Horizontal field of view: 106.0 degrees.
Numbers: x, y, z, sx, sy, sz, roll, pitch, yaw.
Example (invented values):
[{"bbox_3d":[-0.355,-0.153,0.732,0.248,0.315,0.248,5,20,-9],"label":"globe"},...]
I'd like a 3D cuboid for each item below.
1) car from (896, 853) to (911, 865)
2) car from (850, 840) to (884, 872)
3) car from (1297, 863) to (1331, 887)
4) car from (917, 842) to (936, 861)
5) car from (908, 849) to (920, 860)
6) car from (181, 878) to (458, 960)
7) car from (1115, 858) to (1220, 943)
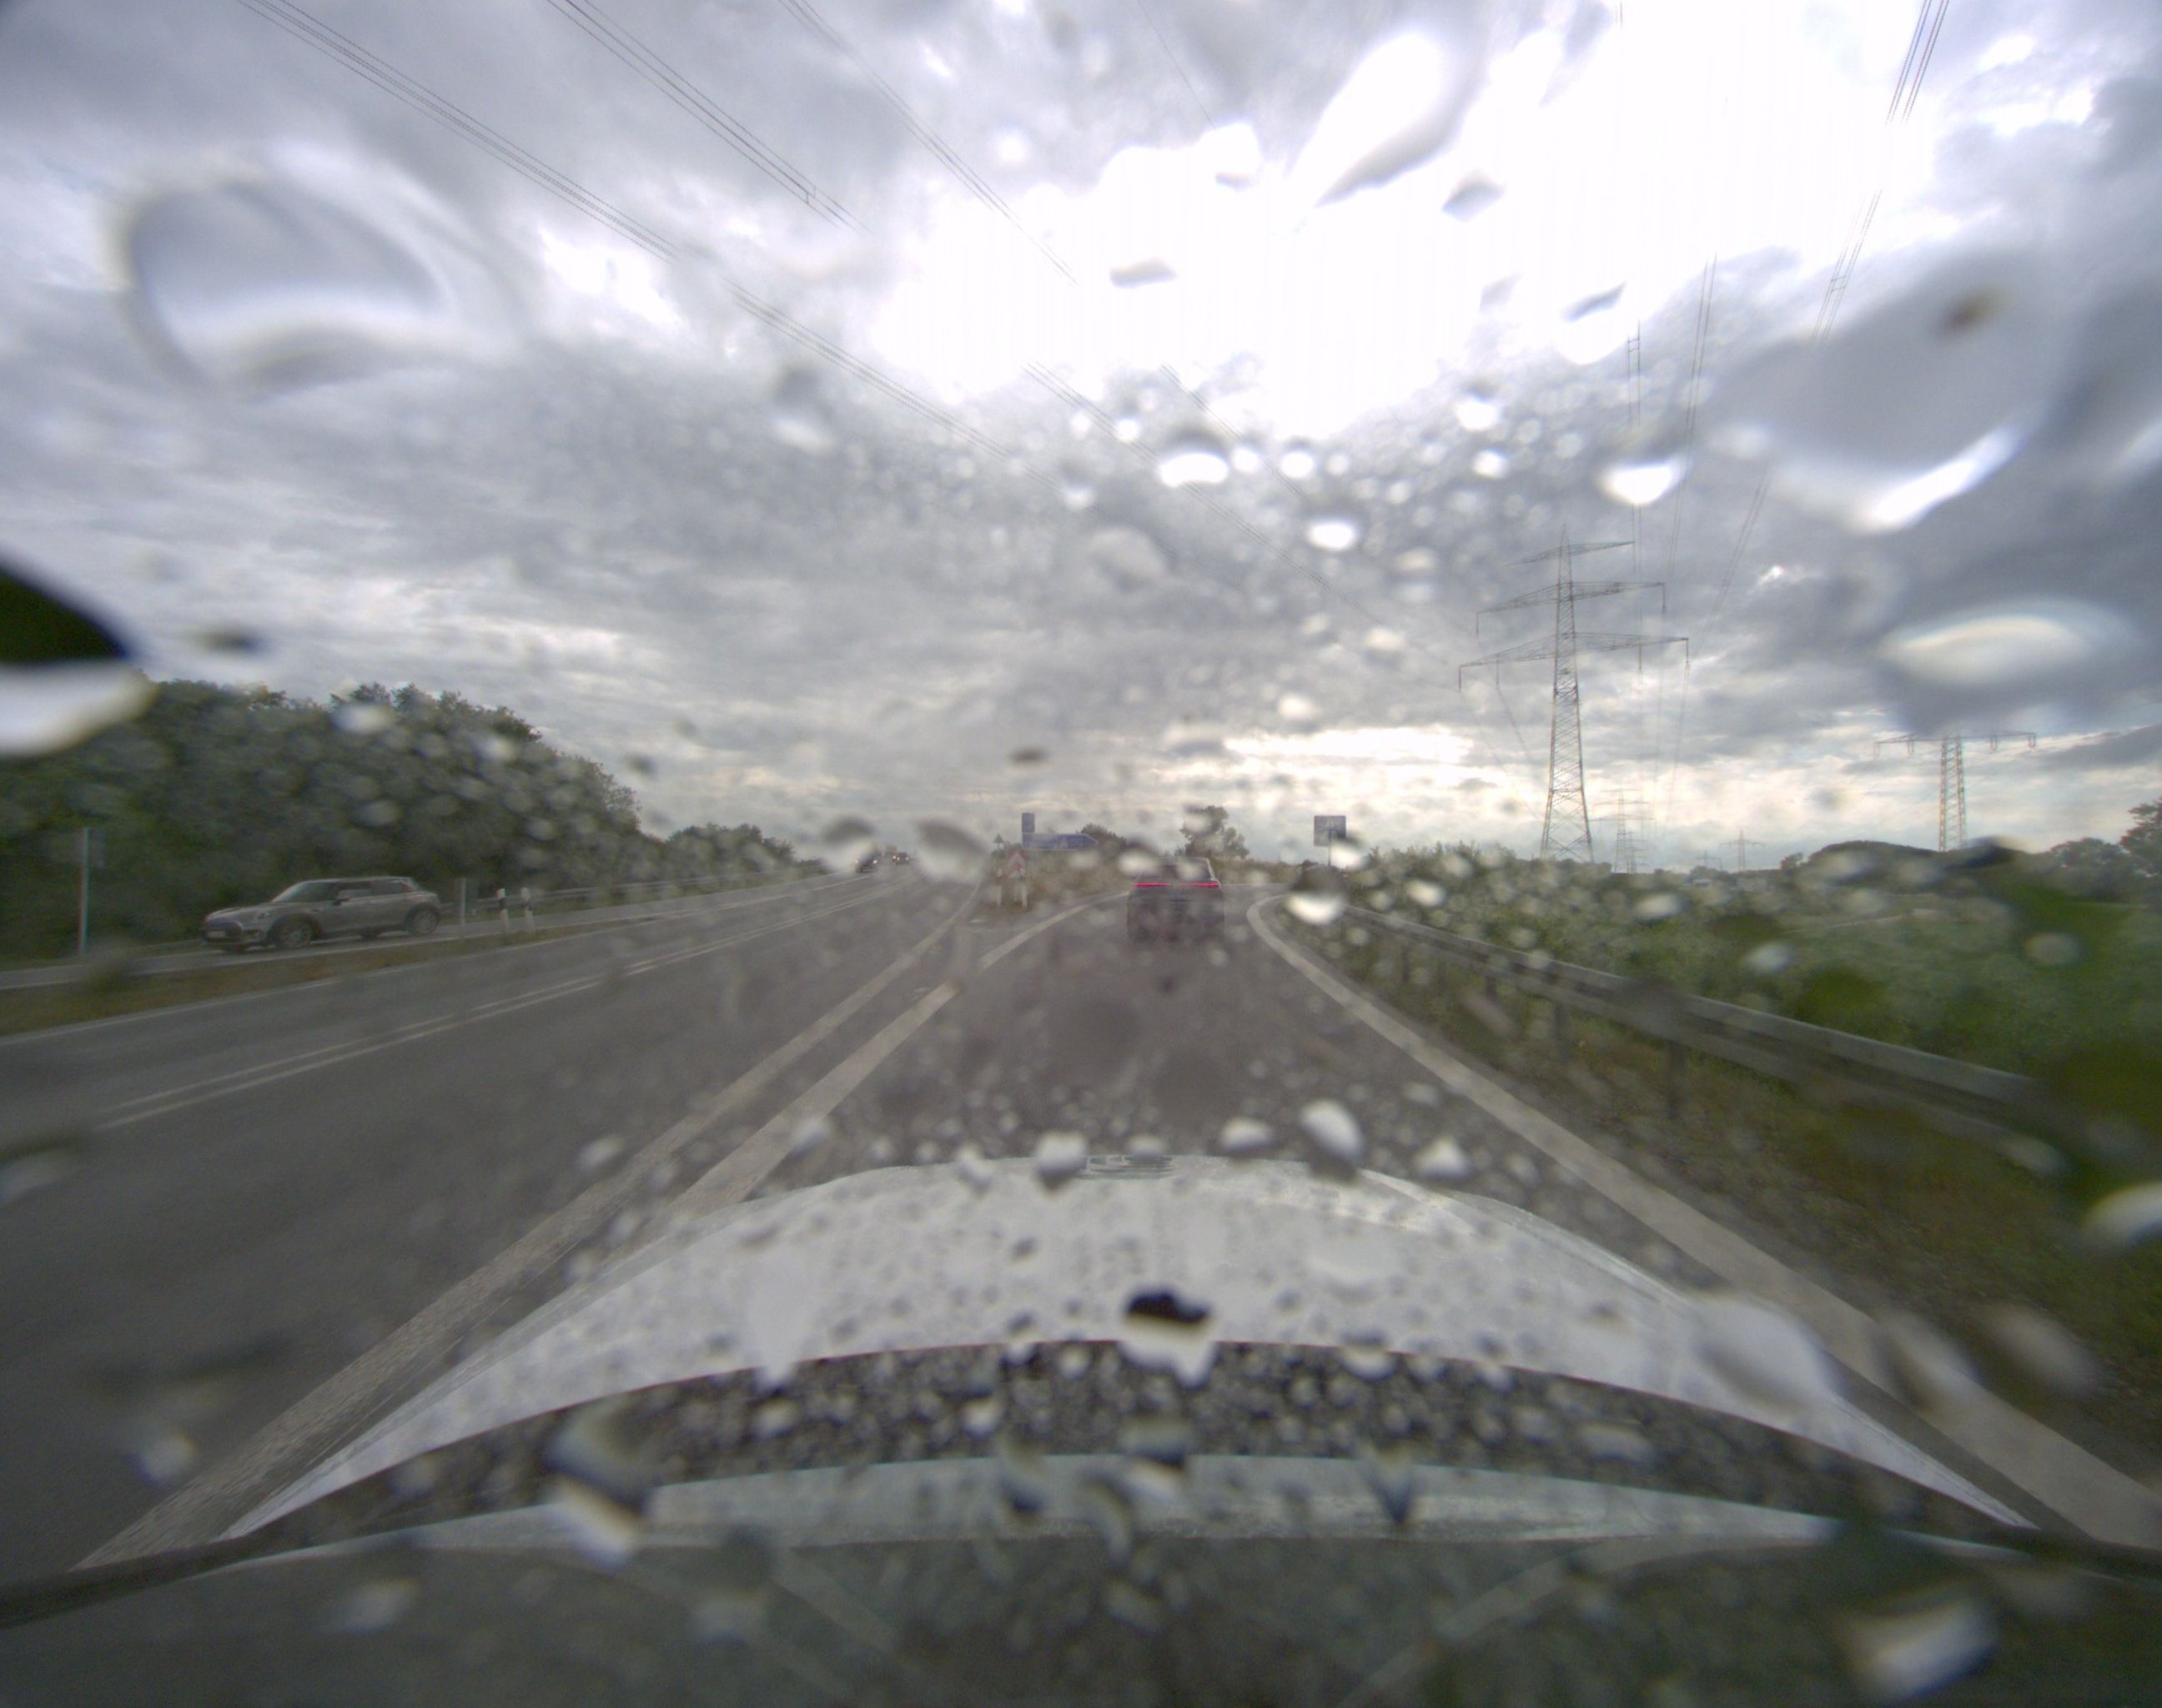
[{"bbox_3d":[-21.766,0.604,99.613,1.746,1.365,4.032,0,0,-13],"label":"car"},{"bbox_3d":[-18.940,0.181,72.362,2.352,2.701,6.968,1,0,-11],"label":"car"},{"bbox_3d":[15.256,1.402,53.209,1.776,1.441,4.019,2,-2,21],"label":"car"},{"bbox_3d":[-22.701,-0.353,119.298,2.575,2.725,7.167,0,1,-12],"label":"car"},{"bbox_3d":[-27.994,0.120,136.454,1.793,1.688,3.981,-1,-2,-13],"label":"car"},{"bbox_3d":[-16.286,1.328,17.738,1.732,1.365,4.065,-5,-2,13],"label":"car"},{"bbox_3d":[1.725,0.851,15.976,1.782,1.441,4.007,-1,-1,7],"label":"car"}]
